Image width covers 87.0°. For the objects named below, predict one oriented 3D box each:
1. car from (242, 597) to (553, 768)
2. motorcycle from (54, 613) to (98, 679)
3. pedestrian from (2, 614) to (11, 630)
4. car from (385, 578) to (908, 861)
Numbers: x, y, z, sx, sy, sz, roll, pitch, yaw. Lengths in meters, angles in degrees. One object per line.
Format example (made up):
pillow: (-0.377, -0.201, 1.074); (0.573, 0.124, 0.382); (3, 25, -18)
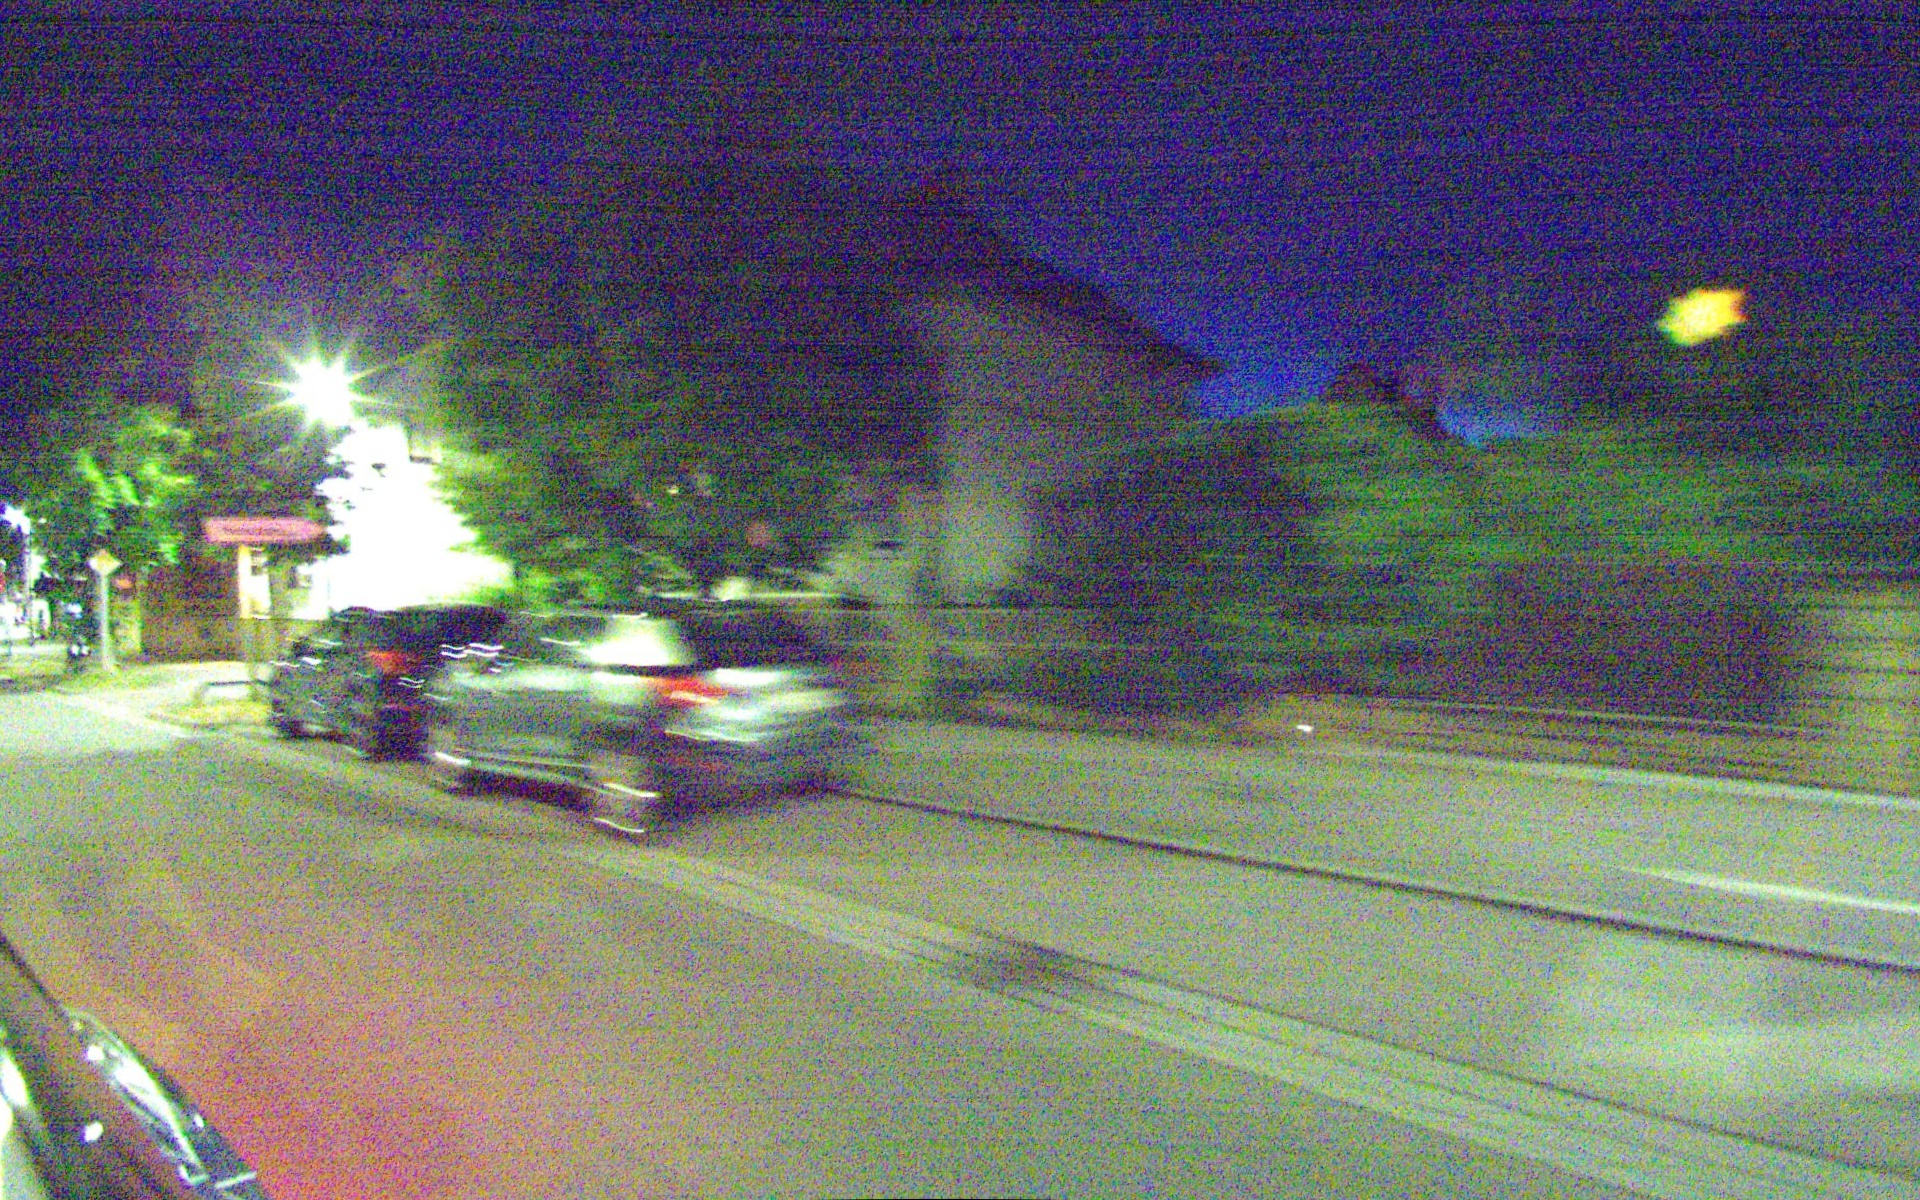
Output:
car: (-6.321, 0.770, 11.157); (4.277, 1.522, 1.670); (-1, 0, 42)
motorcycle: (-20.630, 1.045, 23.642); (0.737, 1.463, 2.199); (0, 0, -41)
pedestrian: (-100.203, 2.309, 106.357); (0.665, 1.600, 0.523); (-1, 0, 37)
car: (-2.557, 0.678, 7.635); (4.276, 1.530, 1.748); (-1, 1, 41)
